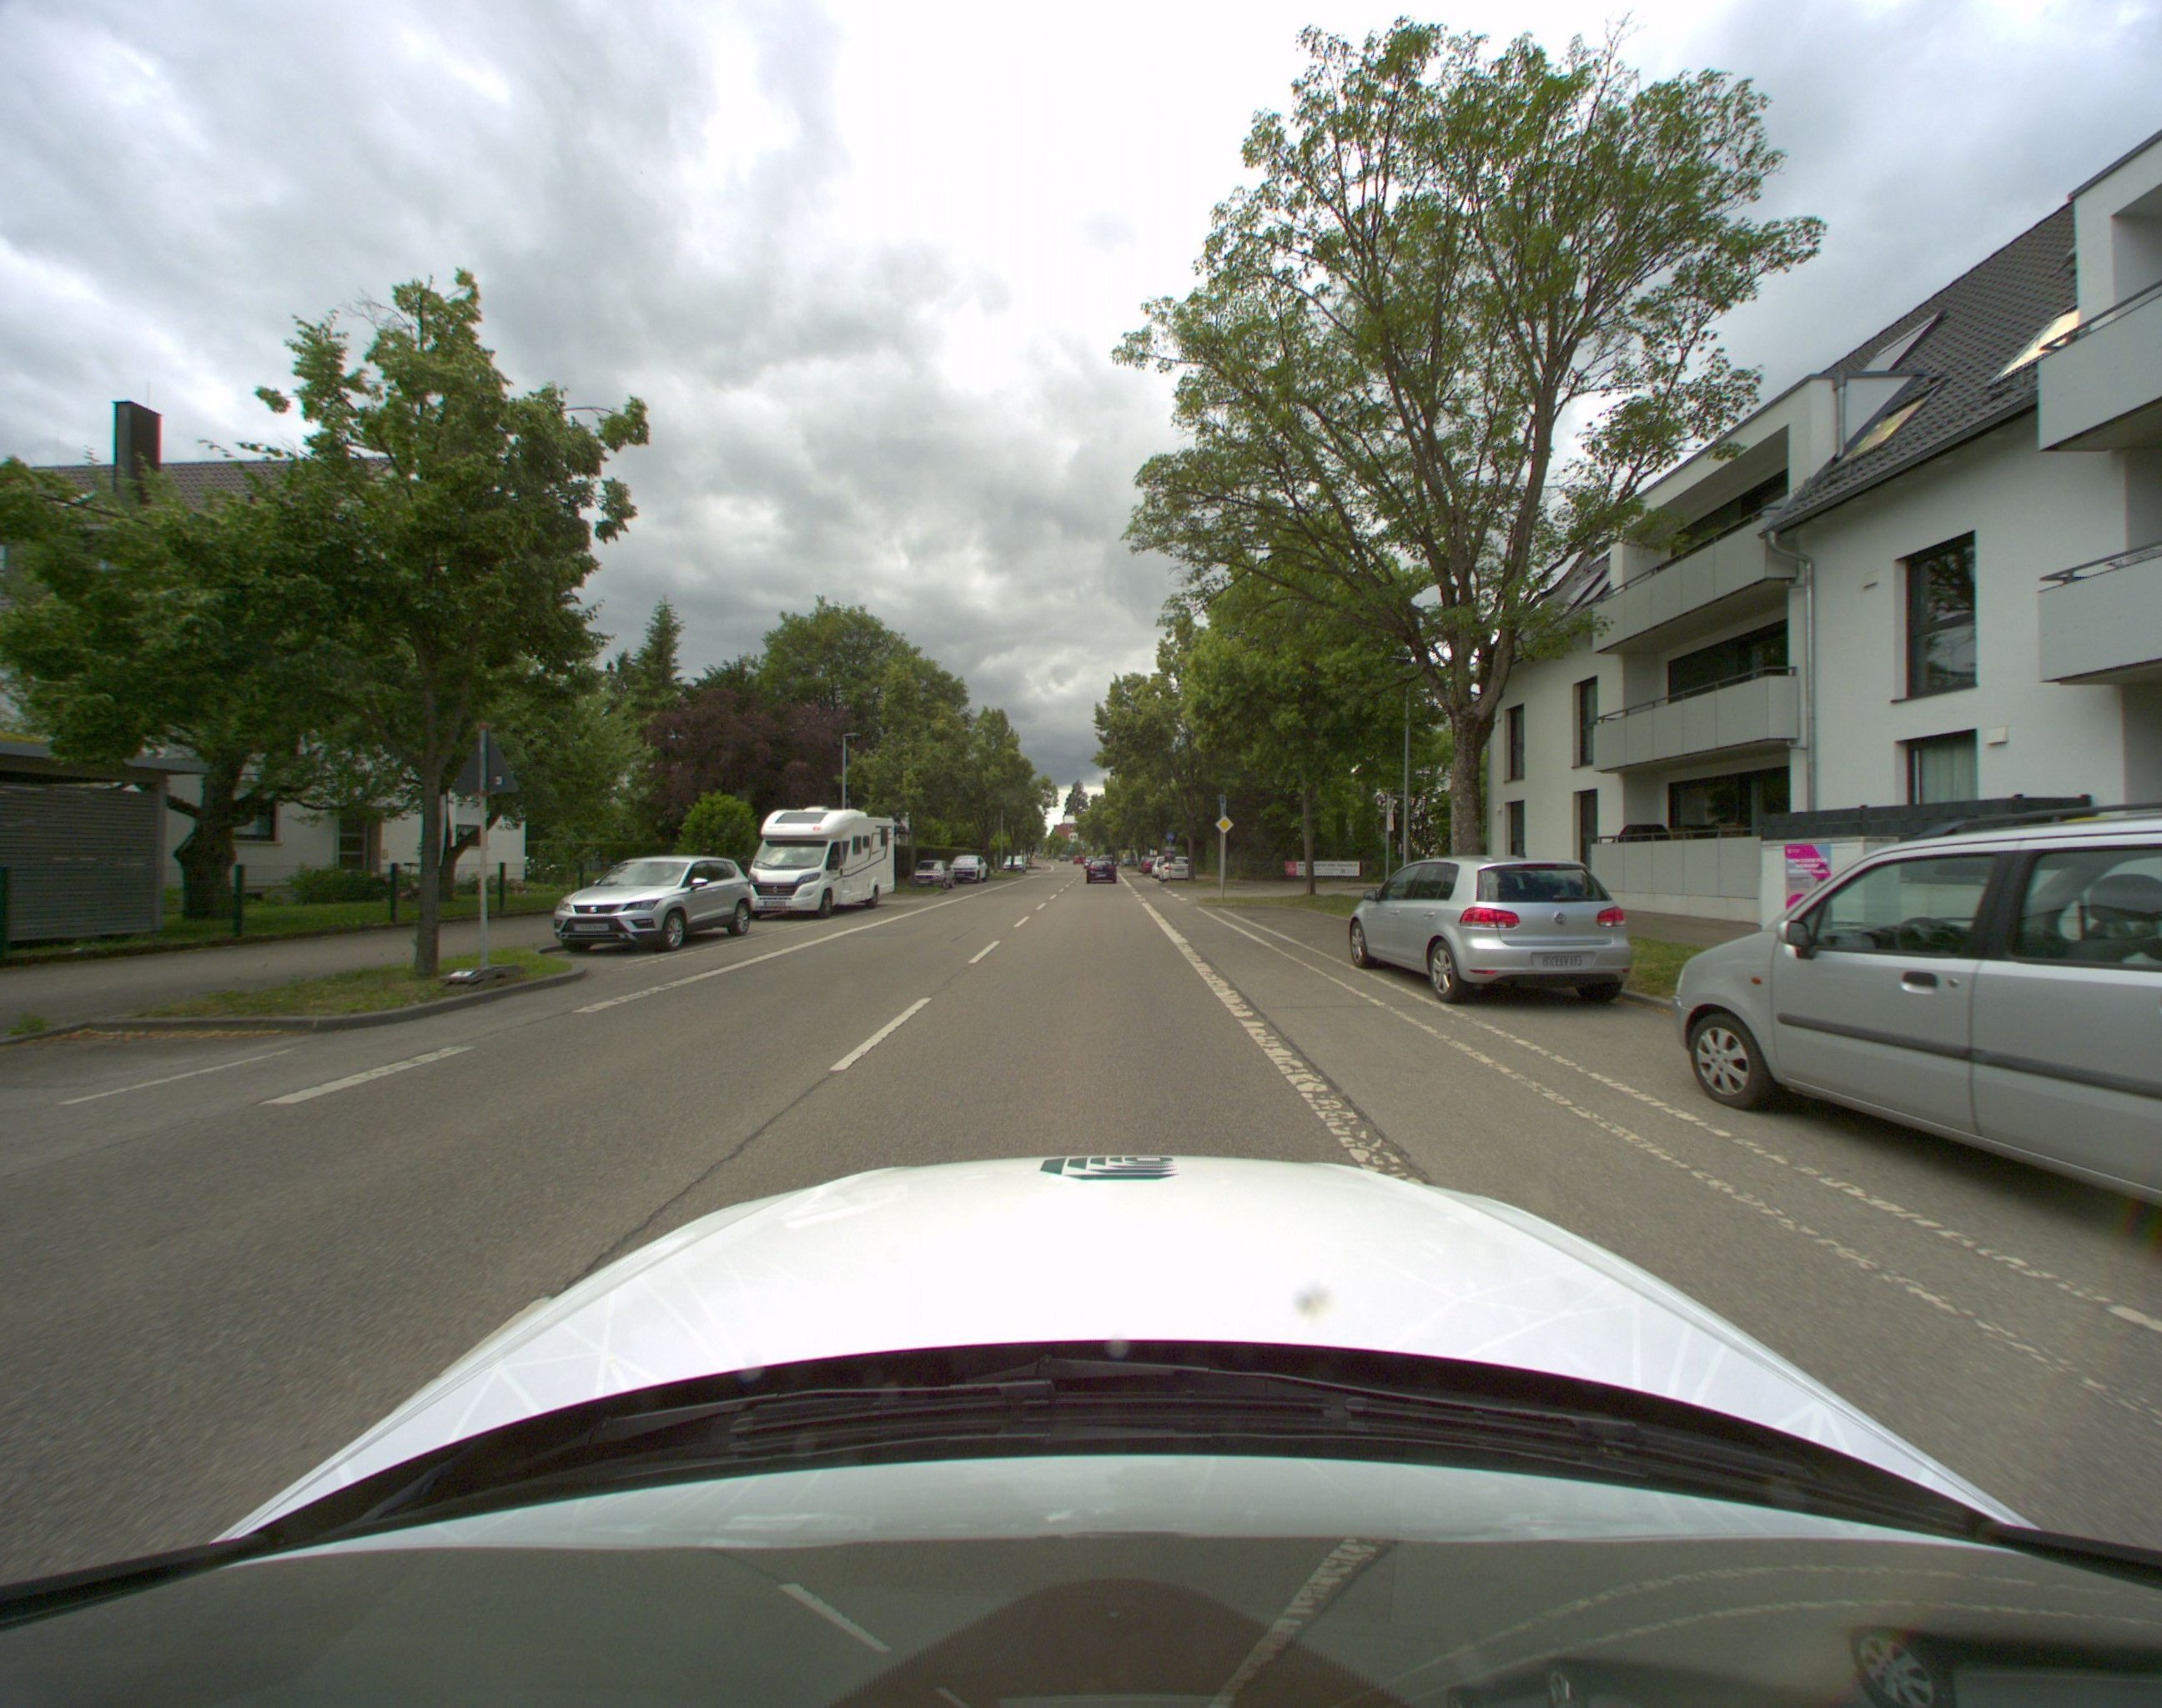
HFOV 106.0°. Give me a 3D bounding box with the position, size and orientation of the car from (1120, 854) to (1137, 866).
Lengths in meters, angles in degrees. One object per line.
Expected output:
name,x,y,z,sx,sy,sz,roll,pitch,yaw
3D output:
car,5.959,0.745,102.634,1.680,1.432,4.039,-1,0,-4

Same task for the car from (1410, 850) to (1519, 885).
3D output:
car,16.783,0.578,35.758,3.977,1.459,1.792,0,1,-3

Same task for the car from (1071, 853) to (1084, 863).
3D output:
car,-0.619,0.664,132.076,1.988,1.530,3.997,-1,0,-2

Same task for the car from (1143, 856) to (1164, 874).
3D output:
car,5.997,0.889,67.612,1.631,1.420,4.003,-1,0,3

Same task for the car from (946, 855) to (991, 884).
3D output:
car,-6.766,0.891,49.438,1.809,1.652,4.703,0,0,3

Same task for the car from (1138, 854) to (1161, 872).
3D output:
car,6.101,0.800,73.092,1.633,1.615,4.168,0,0,-1

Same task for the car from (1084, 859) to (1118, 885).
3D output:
car,1.122,1.013,47.002,1.778,1.449,3.556,0,0,-1

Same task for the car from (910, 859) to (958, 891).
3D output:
car,-7.089,0.969,39.622,1.550,1.470,4.451,0,0,0

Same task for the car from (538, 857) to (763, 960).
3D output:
car,-7.594,0.864,14.915,1.716,1.600,4.274,0,0,2

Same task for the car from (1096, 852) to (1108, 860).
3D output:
car,3.536,0.345,136.178,1.683,1.449,3.573,0,0,-5

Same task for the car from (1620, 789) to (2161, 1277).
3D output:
car,4.529,0.606,3.849,1.626,1.665,3.649,-1,0,2

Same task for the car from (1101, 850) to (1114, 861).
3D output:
car,4.210,0.215,130.190,1.785,1.772,3.977,0,0,-4

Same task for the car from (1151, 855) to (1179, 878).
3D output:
car,5.720,0.829,55.705,1.610,1.460,3.658,-1,0,1

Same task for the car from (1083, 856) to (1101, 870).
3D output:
car,1.274,1.018,95.933,1.987,1.557,4.000,-1,0,0

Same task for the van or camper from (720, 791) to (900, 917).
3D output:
van or camper,-7.439,0.013,23.615,2.426,3.009,7.695,-1,0,2

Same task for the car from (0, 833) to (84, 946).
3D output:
car,-15.532,0.484,9.943,1.699,1.530,4.002,-1,0,2

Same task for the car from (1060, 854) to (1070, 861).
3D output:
car,-3.244,0.707,166.357,1.989,1.508,3.995,0,-1,-4

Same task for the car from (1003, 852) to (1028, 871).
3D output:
car,-6.119,0.719,76.766,1.867,1.688,4.867,-1,0,1

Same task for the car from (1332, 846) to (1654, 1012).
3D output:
car,4.408,0.695,9.542,1.681,1.493,4.228,-1,0,1

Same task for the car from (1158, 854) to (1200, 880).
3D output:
car,5.619,0.718,47.280,2.013,1.443,5.027,0,0,2
